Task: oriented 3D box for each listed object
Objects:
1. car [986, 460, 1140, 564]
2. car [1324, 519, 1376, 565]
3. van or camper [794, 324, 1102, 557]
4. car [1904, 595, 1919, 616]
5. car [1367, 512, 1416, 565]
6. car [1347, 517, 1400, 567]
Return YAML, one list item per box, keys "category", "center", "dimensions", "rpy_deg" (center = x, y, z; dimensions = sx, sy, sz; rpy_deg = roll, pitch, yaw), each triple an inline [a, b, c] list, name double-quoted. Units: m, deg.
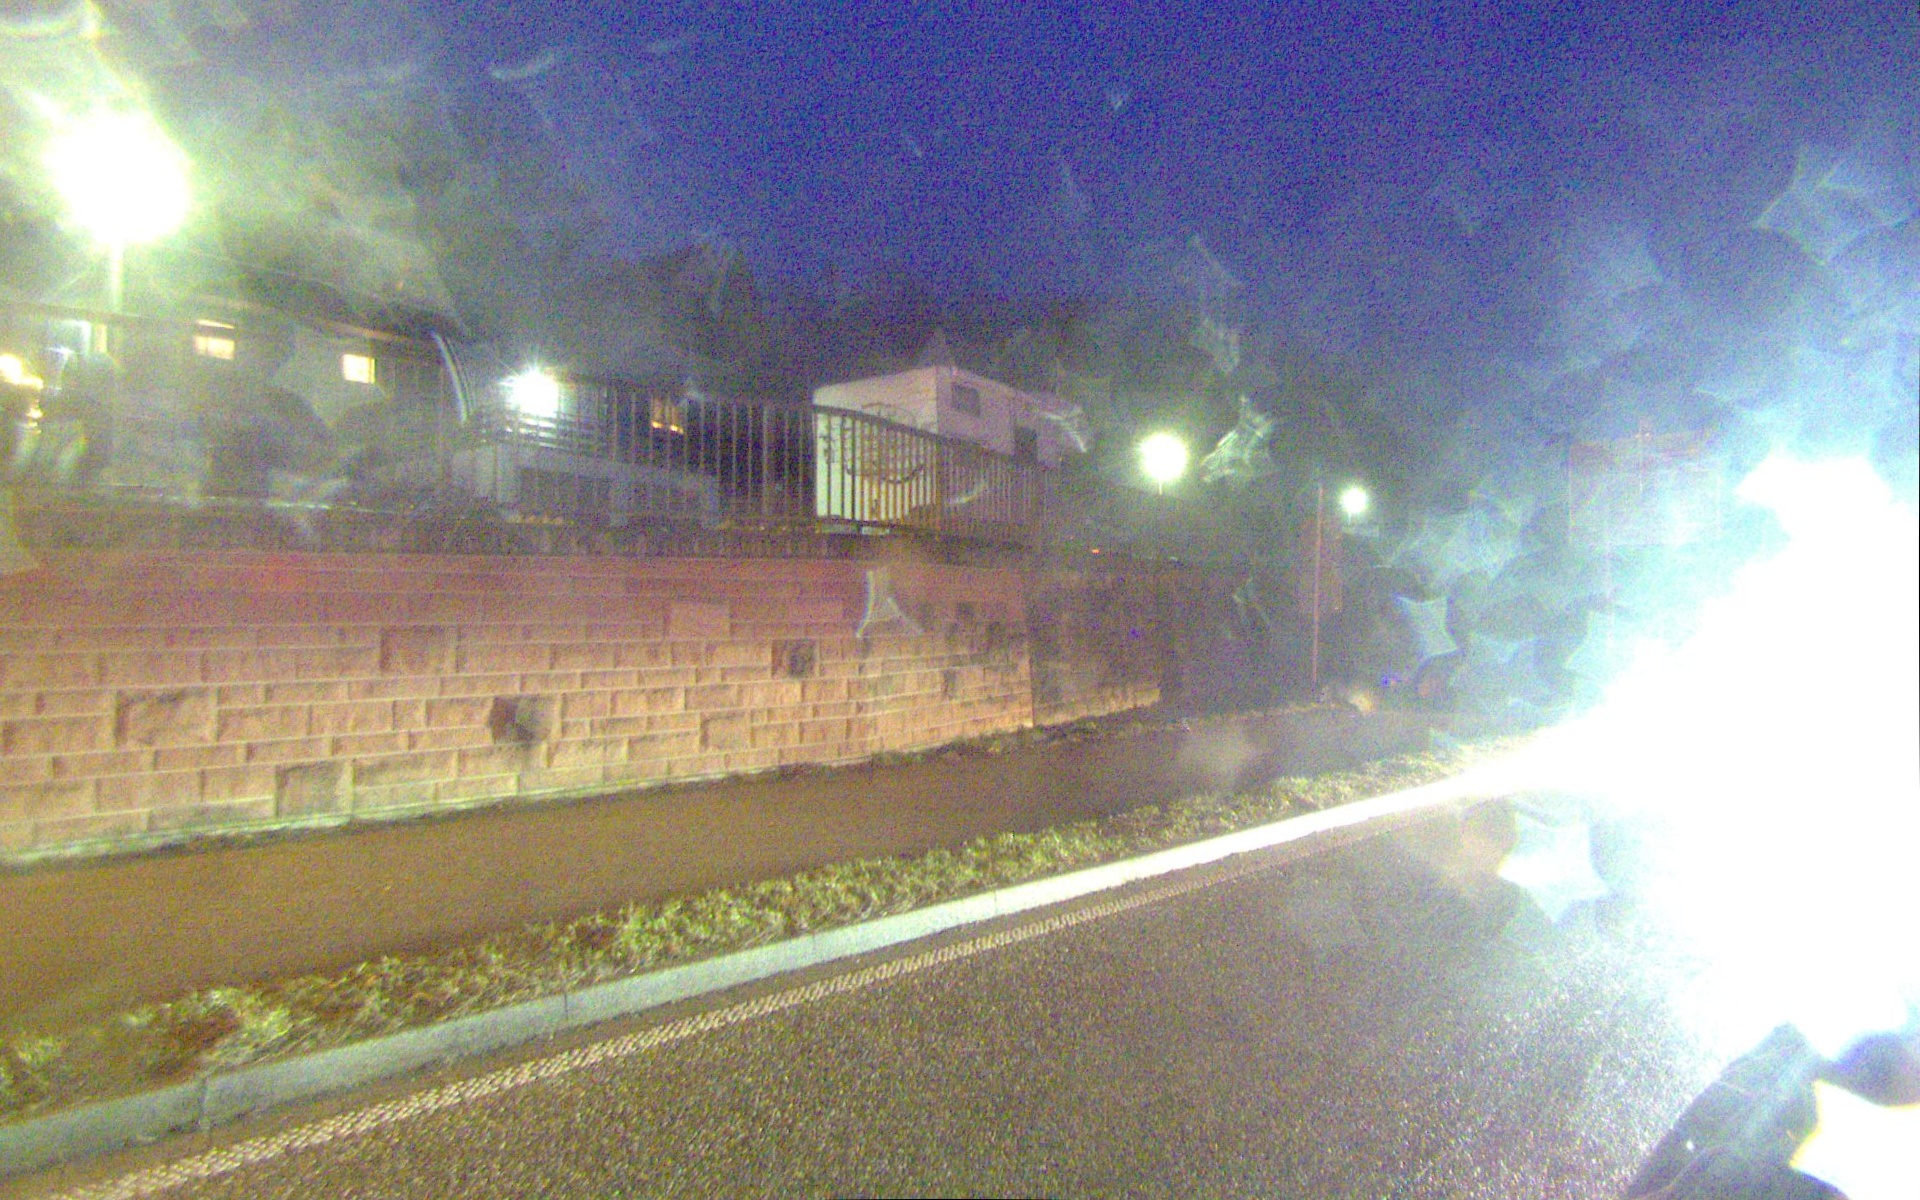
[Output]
- category: "car"
  center: [2.454, -1.904, 23.248]
  dimensions: [1.985, 2.039, 3.954]
  rpy_deg: [0, 0, 32]
- category: "car"
  center: [19.241, -2.806, 49.819]
  dimensions: [1.721, 2.039, 3.658]
  rpy_deg: [0, 0, 32]
- category: "van or camper"
  center: [0.090, -2.198, 16.237]
  dimensions: [2.394, 2.828, 5.712]
  rpy_deg: [0, 0, 30]
- category: "car"
  center: [93.883, 0.552, 97.491]
  dimensions: [1.960, 2.039, 4.004]
  rpy_deg: [0, 0, -5]
- category: "car"
  center: [25.078, -3.507, 58.755]
  dimensions: [1.922, 2.810, 4.206]
  rpy_deg: [0, 0, 32]
- category: "car"
  center: [22.212, -3.070, 54.230]
  dimensions: [1.922, 2.451, 4.206]
  rpy_deg: [0, 0, 32]
